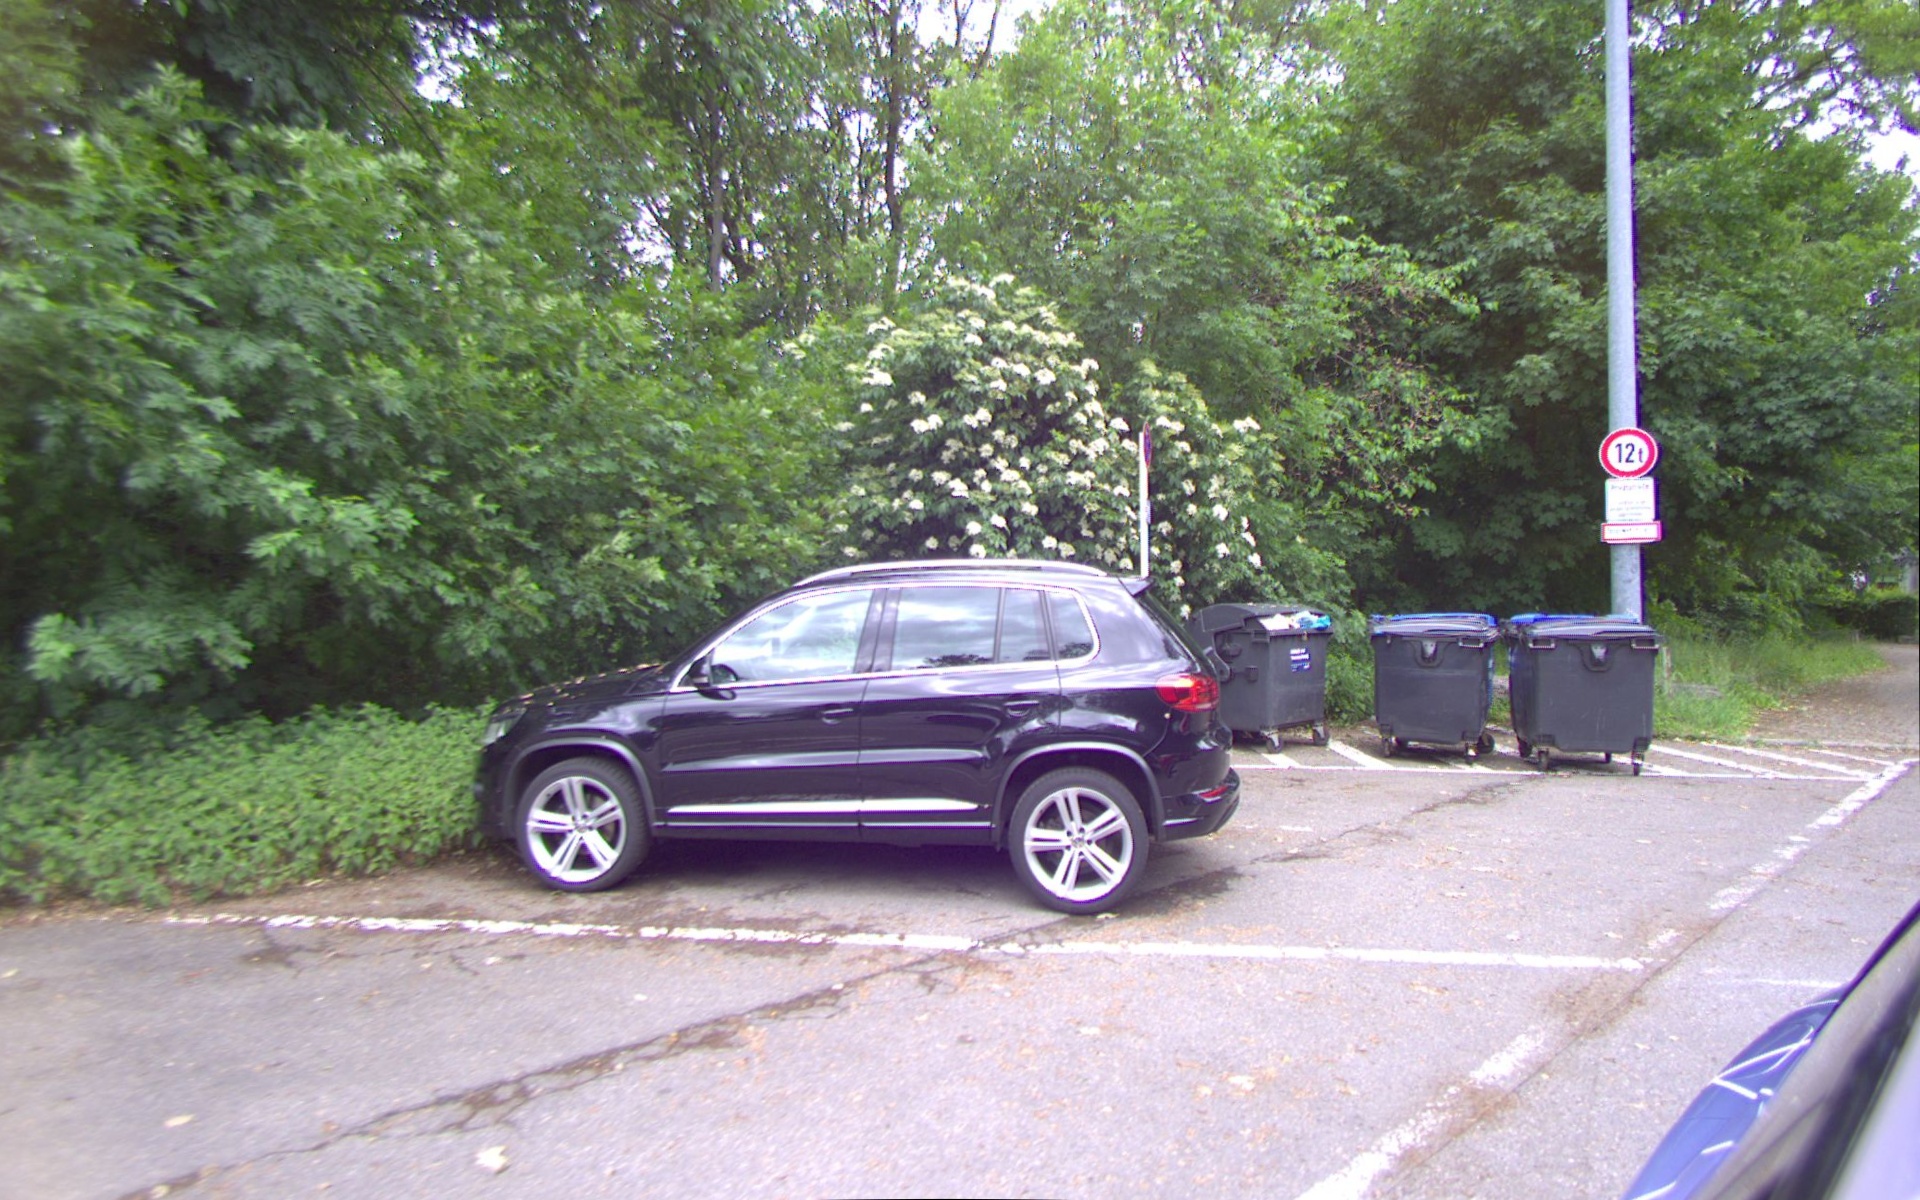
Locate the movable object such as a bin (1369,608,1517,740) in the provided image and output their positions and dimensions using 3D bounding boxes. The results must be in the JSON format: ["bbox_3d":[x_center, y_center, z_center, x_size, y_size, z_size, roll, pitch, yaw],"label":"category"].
[{"bbox_3d":[5.331,0.757,11.168,1.220,1.337,1.124,0,-1,-44],"label":"movable object such as a bin"}]

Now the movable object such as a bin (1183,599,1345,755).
[{"bbox_3d":[3.040,0.713,10.164,1.109,1.443,1.126,0,-1,-37],"label":"movable object such as a bin"}]

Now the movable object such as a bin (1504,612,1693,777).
[{"bbox_3d":[5.628,0.777,9.036,1.158,1.324,1.304,0,0,20],"label":"movable object such as a bin"}]

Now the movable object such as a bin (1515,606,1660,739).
[{"bbox_3d":[6.911,0.745,11.141,1.250,1.342,1.131,0,-1,38],"label":"movable object such as a bin"}]

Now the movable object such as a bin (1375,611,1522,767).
[{"bbox_3d":[4.532,0.776,9.503,1.113,1.331,1.176,0,0,20],"label":"movable object such as a bin"}]

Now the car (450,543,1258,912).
[{"bbox_3d":[-0.517,0.576,5.811,4.001,1.706,1.781,0,0,7],"label":"car"}]
